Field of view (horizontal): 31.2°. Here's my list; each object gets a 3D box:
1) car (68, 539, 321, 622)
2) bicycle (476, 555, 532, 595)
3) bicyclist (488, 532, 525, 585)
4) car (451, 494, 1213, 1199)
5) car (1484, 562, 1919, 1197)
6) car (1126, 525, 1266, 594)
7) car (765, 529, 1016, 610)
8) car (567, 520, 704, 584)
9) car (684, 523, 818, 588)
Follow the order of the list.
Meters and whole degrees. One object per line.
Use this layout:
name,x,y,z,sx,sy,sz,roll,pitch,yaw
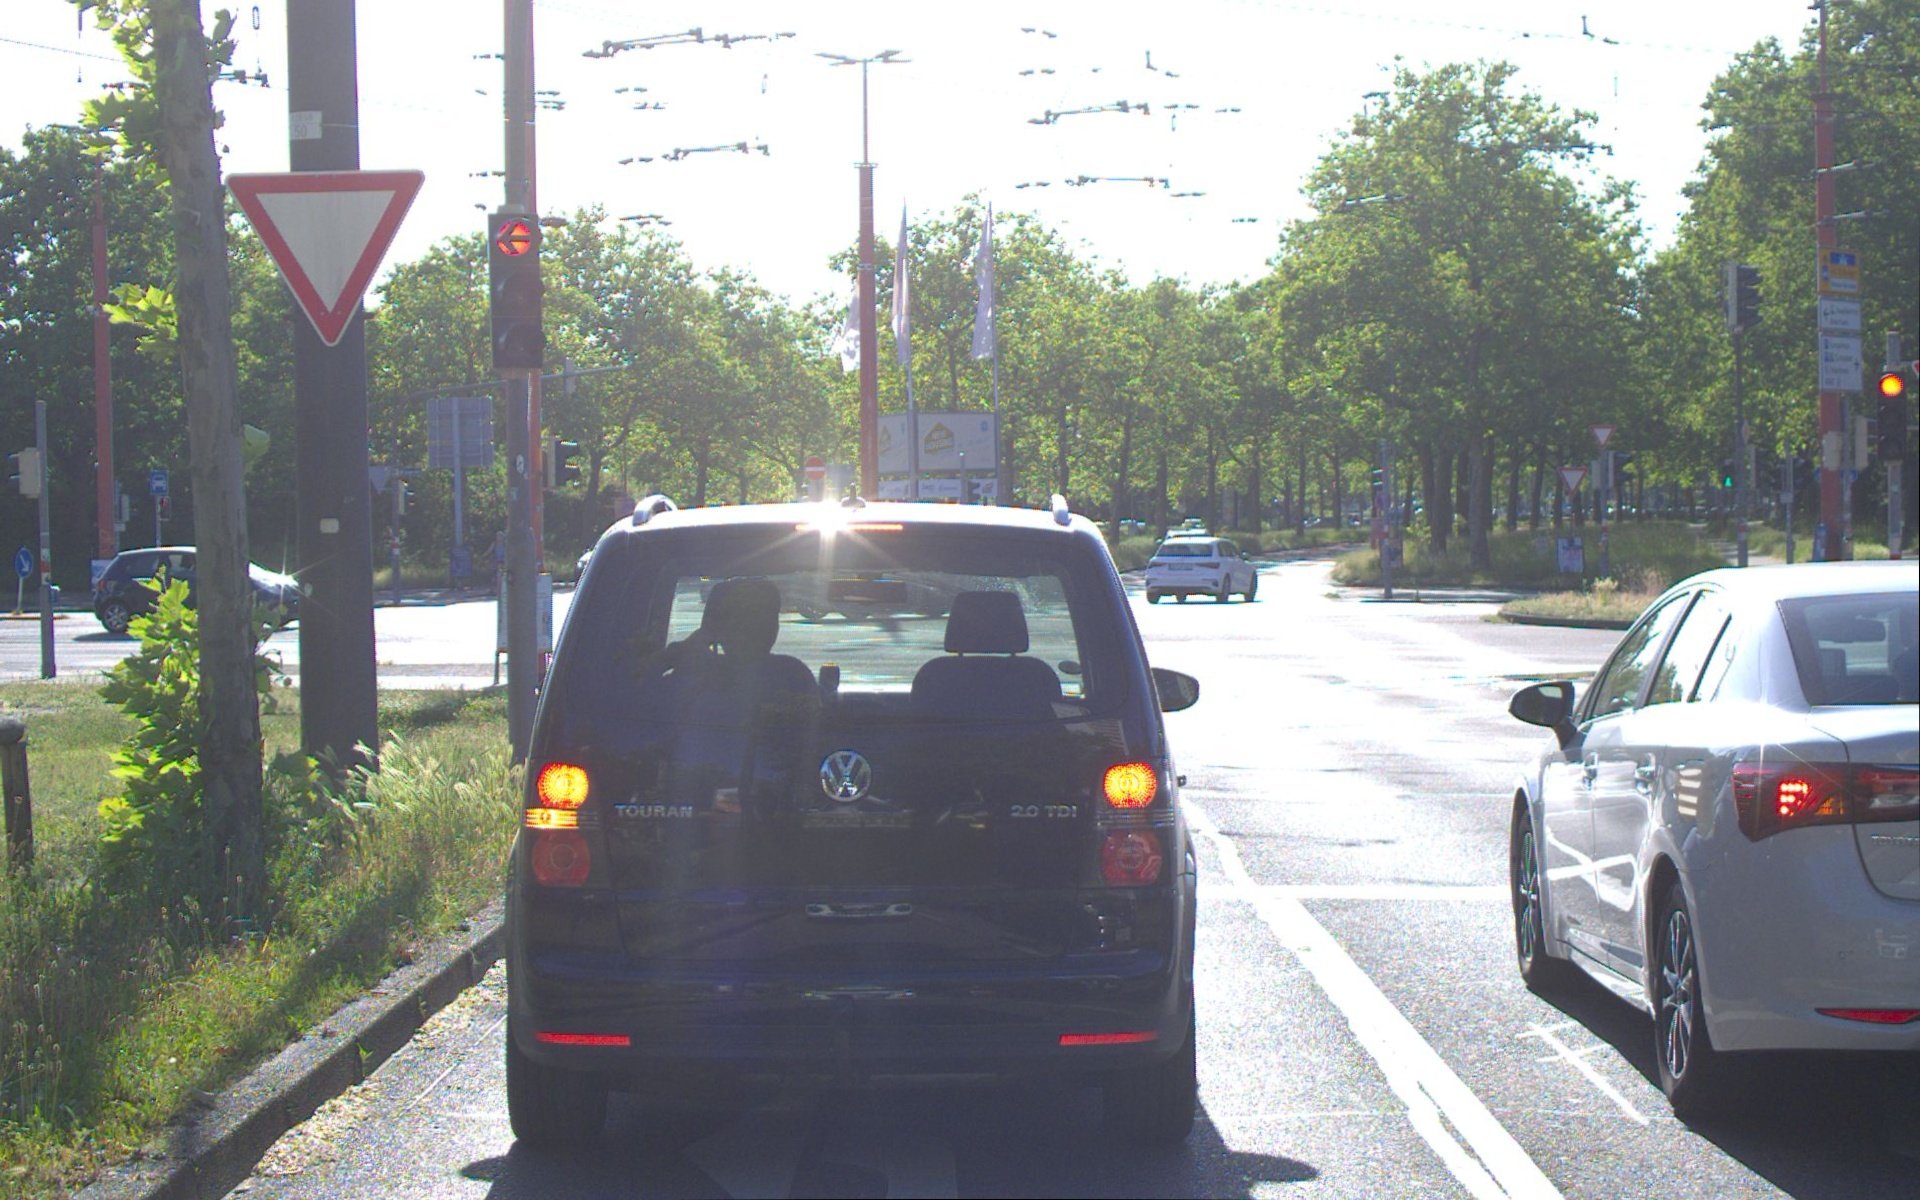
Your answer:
car,-13.732,-0.360,61.825,4.043,1.459,1.914,0,1,6
bicycle,-12.520,-0.685,94.424,0.735,1.086,1.959,0,1,18
bicyclist,-12.489,-1.153,94.636,0.693,1.452,0.874,0,1,18
car,-0.315,0.547,9.884,1.737,1.635,4.000,0,1,-1
car,2.689,0.631,10.085,1.715,1.449,4.144,0,1,1
car,5.206,-0.895,75.224,1.910,1.459,4.218,0,1,21
car,-1.294,-0.598,64.844,4.360,1.459,1.914,-1,1,-32
car,-8.752,-1.313,93.233,1.995,1.679,4.825,0,1,17
car,-5.534,-1.196,91.666,1.995,1.679,4.825,0,1,17
